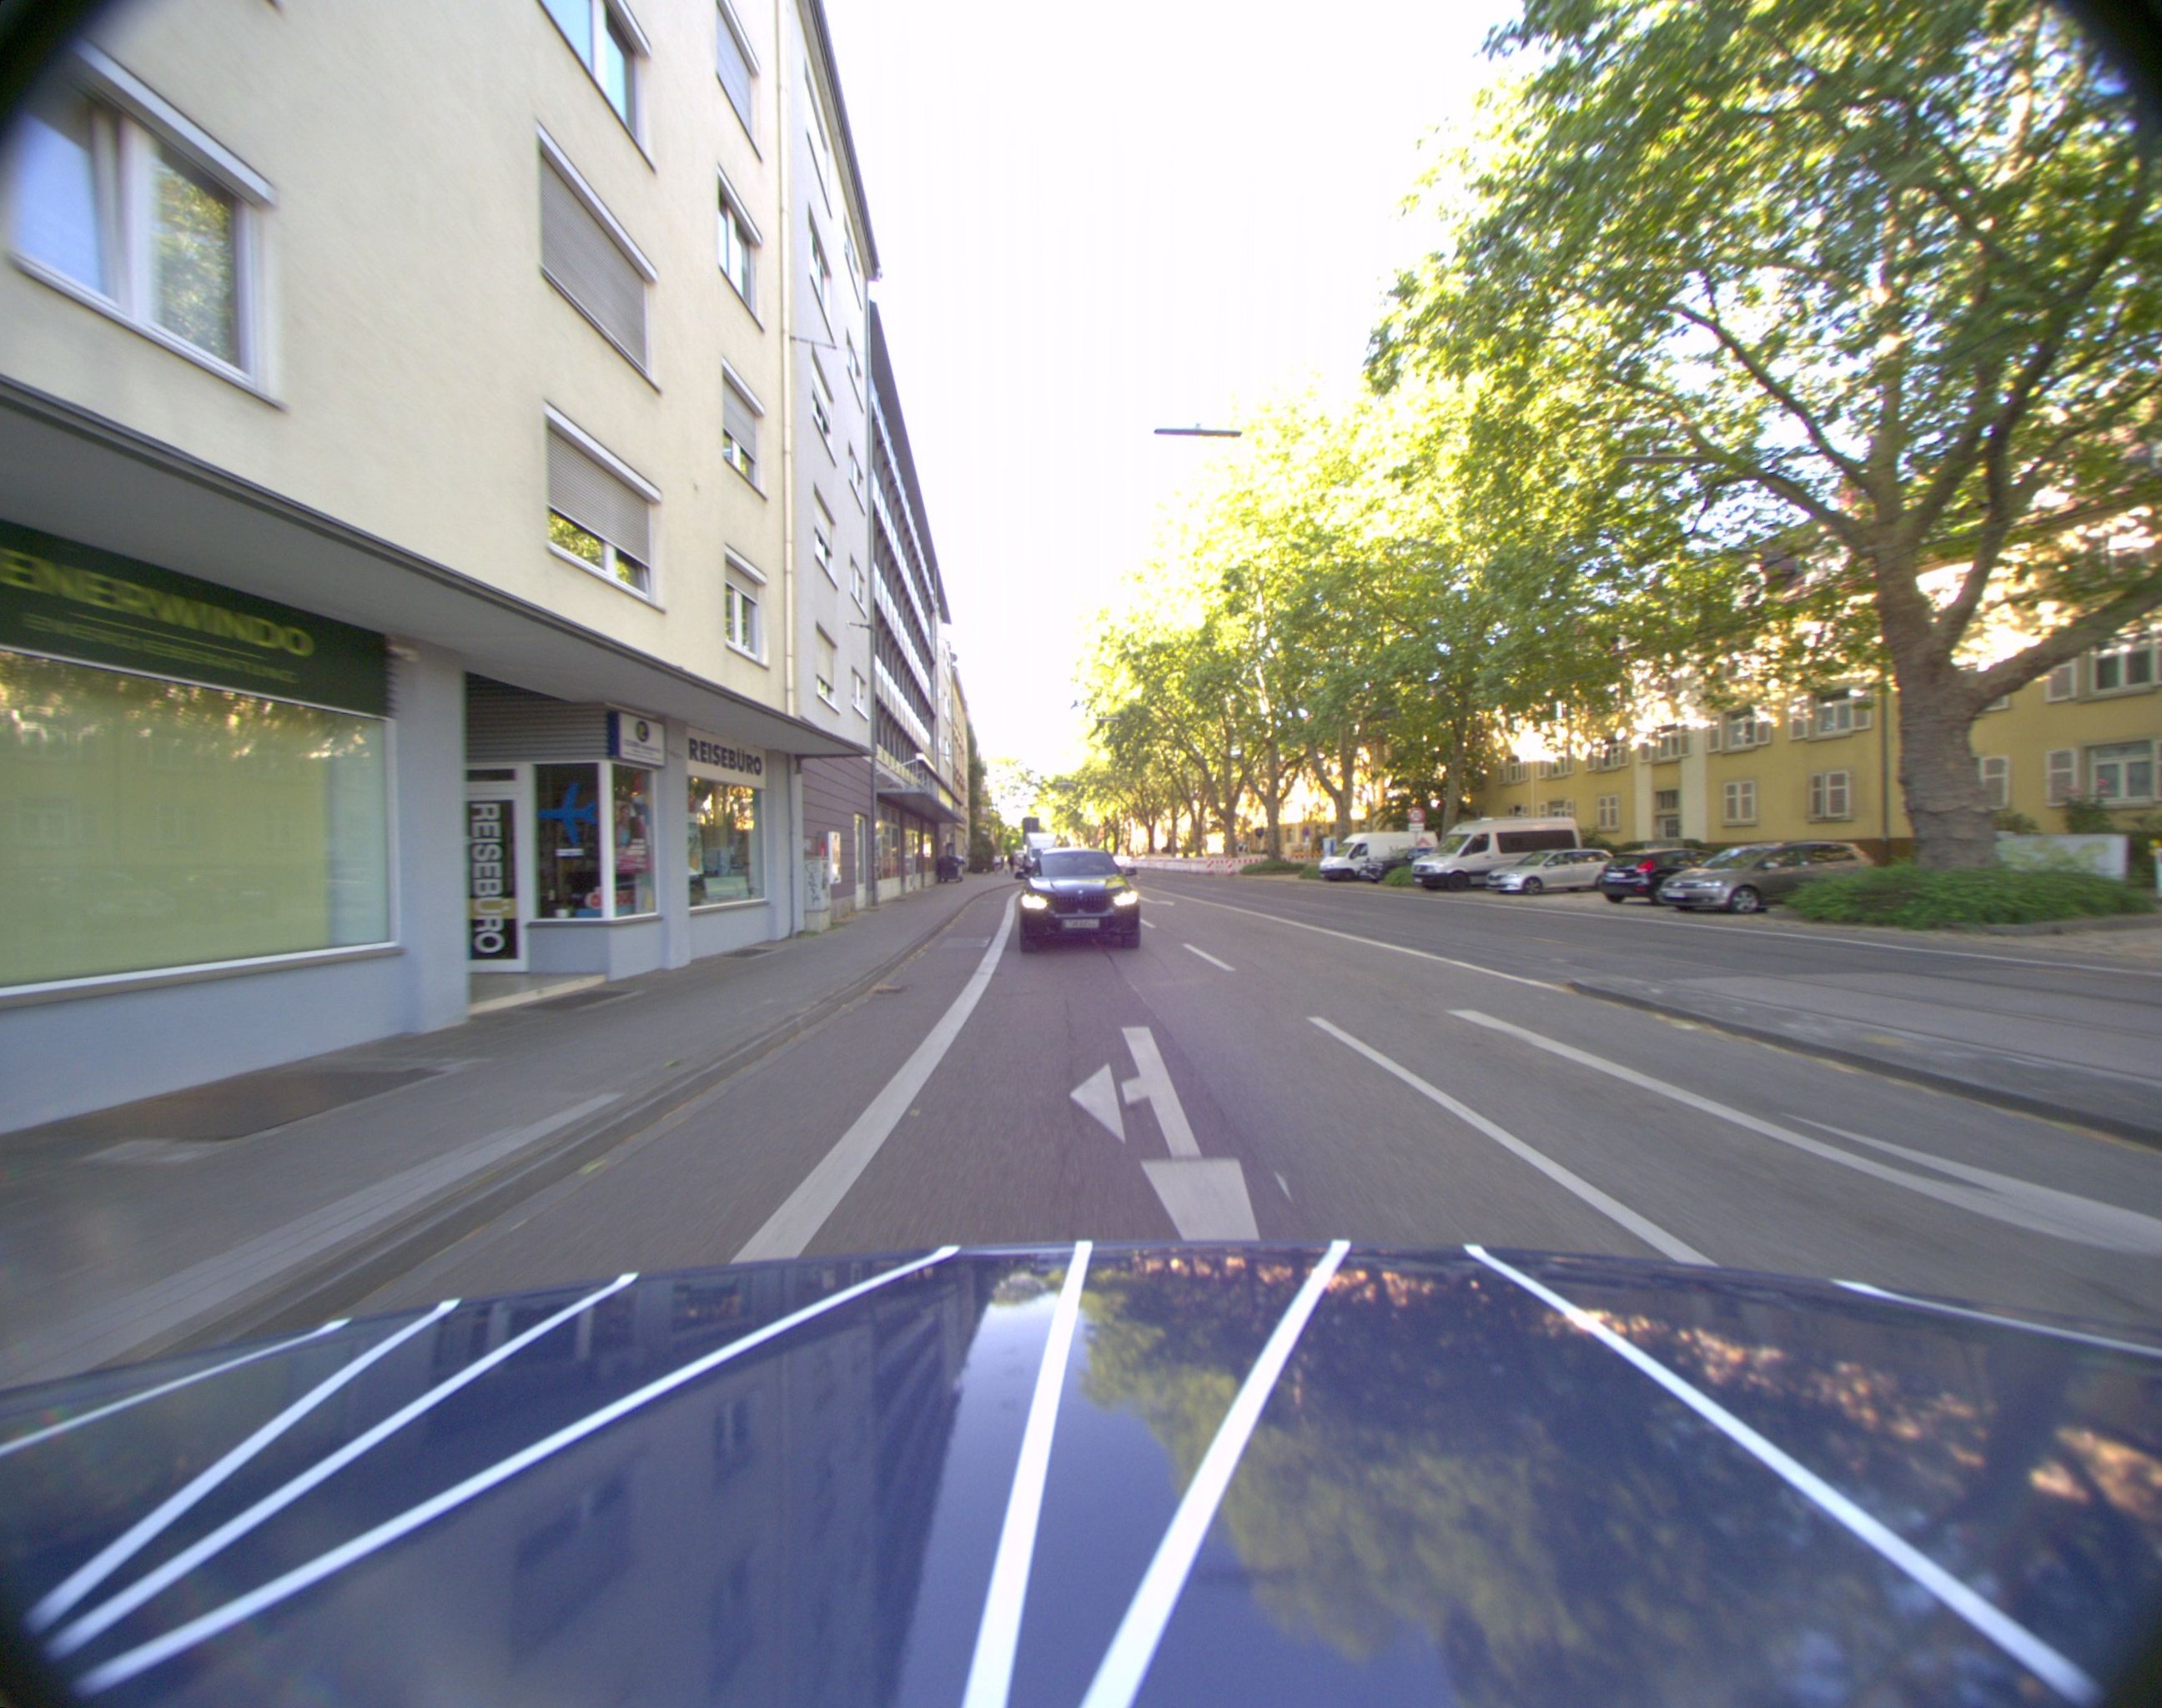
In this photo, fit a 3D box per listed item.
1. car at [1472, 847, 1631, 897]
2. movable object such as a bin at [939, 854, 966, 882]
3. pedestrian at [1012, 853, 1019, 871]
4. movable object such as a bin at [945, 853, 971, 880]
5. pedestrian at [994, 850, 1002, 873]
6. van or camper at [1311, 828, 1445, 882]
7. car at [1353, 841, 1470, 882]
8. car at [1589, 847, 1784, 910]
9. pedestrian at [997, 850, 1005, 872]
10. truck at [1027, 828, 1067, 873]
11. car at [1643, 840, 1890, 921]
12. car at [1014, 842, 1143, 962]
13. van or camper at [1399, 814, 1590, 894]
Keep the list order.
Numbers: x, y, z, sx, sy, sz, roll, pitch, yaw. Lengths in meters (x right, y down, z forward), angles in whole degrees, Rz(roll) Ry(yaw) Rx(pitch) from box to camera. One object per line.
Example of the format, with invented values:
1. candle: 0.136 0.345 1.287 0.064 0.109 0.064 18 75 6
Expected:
1. car: 15.624 0.584 25.369 4.277 1.438 1.693 -2 2 -2
2. movable object such as a bin: -6.754 0.724 40.020 1.204 1.402 1.371 -1 1 -2
3. pedestrian: -5.488 0.654 63.385 0.541 1.437 0.630 -1 1 -2
4. movable object such as a bin: -6.797 0.683 42.018 1.204 1.402 1.371 -1 1 -2
5. pedestrian: -6.409 0.561 58.709 0.541 1.712 0.630 -1 1 -2
6. van or camper: 14.546 0.030 37.409 5.764 2.371 2.155 -2 2 -3
7. car: 14.829 0.324 34.250 4.541 1.624 1.693 -2 2 -2
8. car: 15.928 0.615 20.116 3.862 1.438 1.693 -2 2 -2
9. pedestrian: -5.914 0.506 56.384 0.541 1.662 0.630 -1 1 -2
10. truck: -2.535 -0.288 55.292 2.345 3.096 5.208 -2 1 -7
11. car: 15.570 0.555 17.405 4.081 1.610 1.843 -2 2 -2
12. car: -0.114 0.703 13.994 1.931 1.742 4.681 -2 1 -2
13. van or camper: 15.166 -0.030 28.065 5.933 2.633 2.155 -2 2 -3
